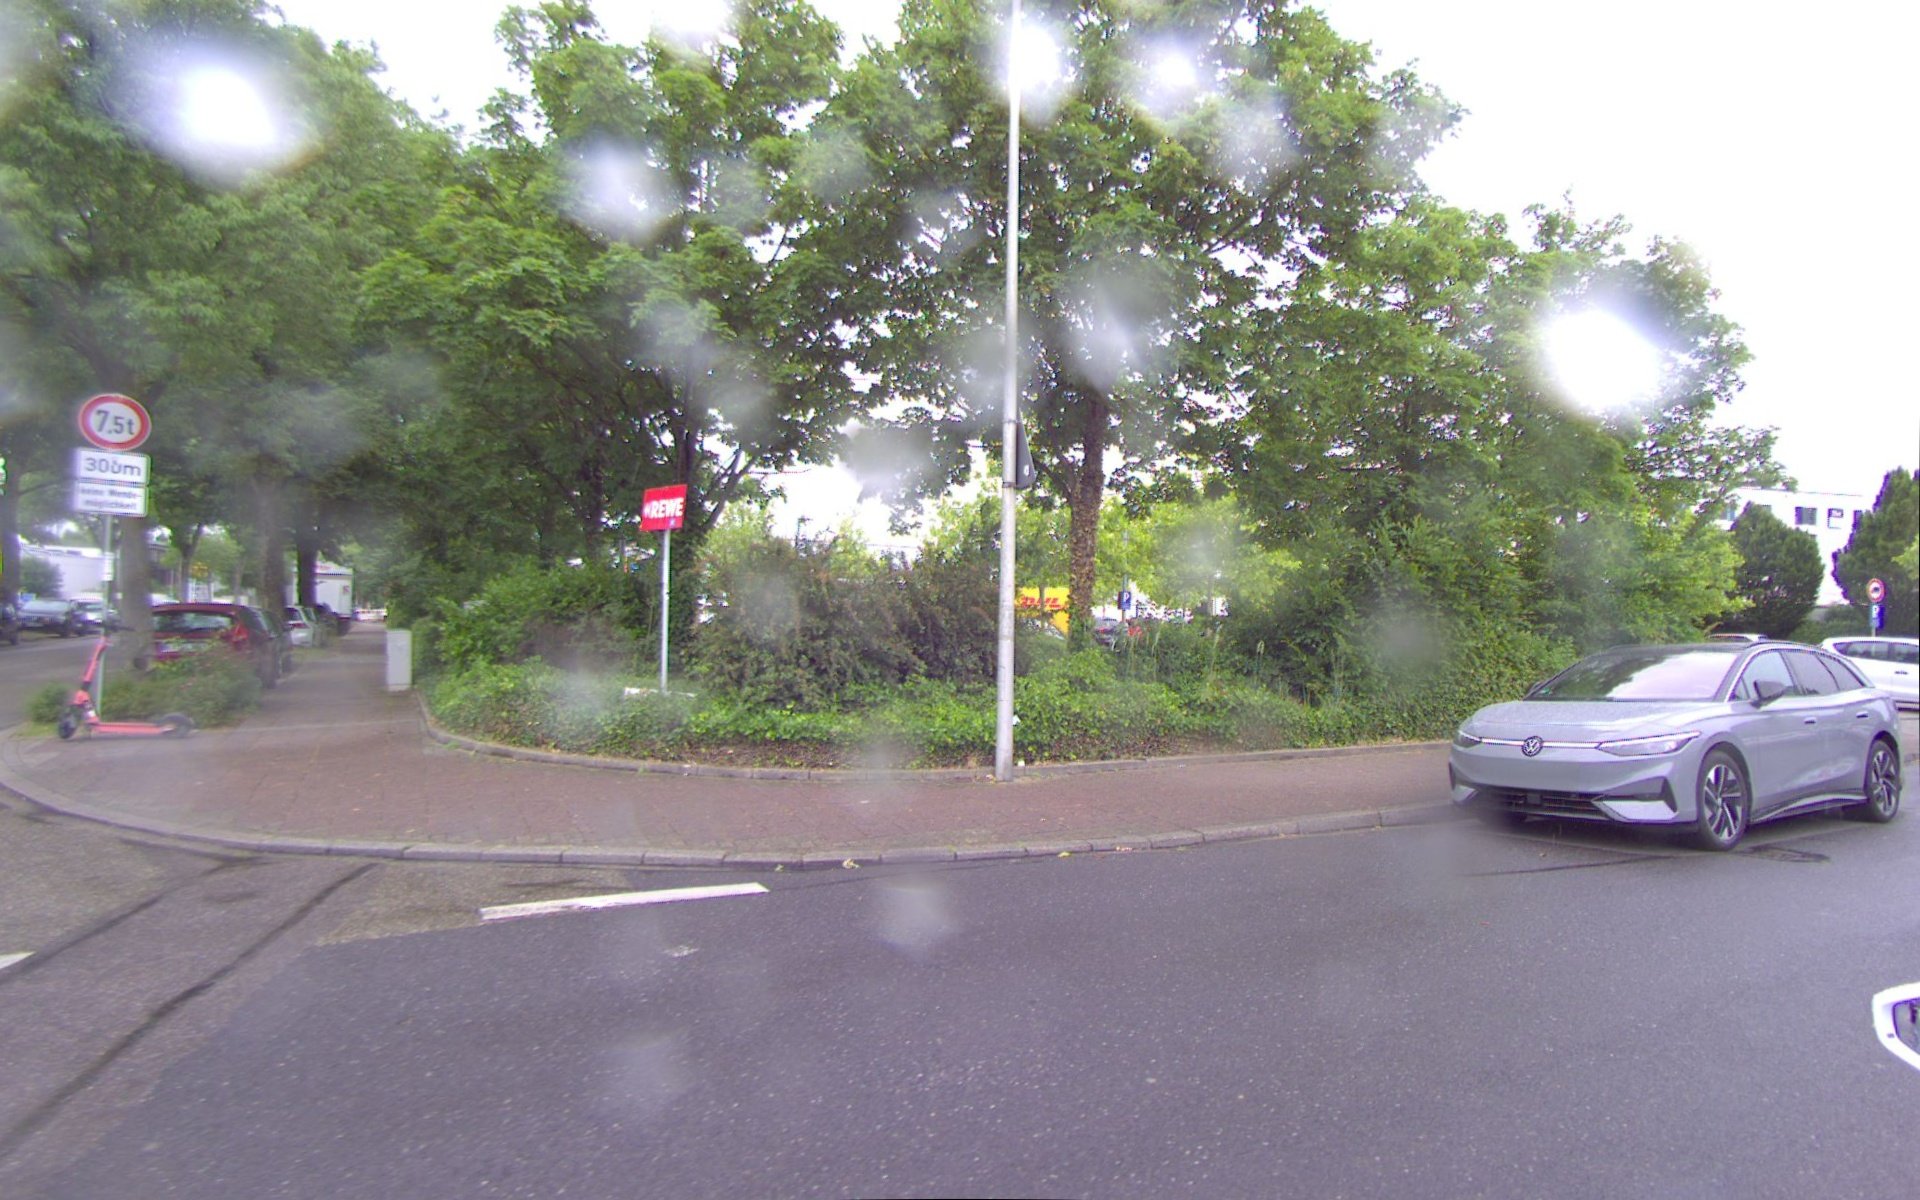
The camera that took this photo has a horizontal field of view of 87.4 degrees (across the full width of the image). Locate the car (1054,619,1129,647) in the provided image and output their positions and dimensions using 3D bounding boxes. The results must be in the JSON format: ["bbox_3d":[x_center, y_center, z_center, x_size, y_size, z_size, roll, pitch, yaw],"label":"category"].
[{"bbox_3d":[6.776,1.684,52.140,1.834,1.352,3.969,2,-1,-29],"label":"car"}]

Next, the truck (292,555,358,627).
[{"bbox_3d":[-33.662,-0.386,53.401,2.573,3.515,6.760,2,-1,-30],"label":"truck"}]

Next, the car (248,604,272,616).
[{"bbox_3d":[-75.094,1.113,107.792,1.551,1.218,3.971,2,-1,-28],"label":"car"}]

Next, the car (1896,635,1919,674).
[{"bbox_3d":[39.647,2.208,39.357,1.887,1.561,3.971,2,-1,-28],"label":"car"}]

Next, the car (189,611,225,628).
[{"bbox_3d":[-57.477,1.460,76.703,1.551,1.218,3.971,2,-1,-28],"label":"car"}]

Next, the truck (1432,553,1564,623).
[{"bbox_3d":[22.924,-0.428,42.702,6.322,2.692,1.984,2,-1,-31],"label":"truck"}]

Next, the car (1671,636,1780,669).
[{"bbox_3d":[38.746,2.633,50.933,1.974,1.519,3.972,2,-1,-27],"label":"car"}]

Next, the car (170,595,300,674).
[{"bbox_3d":[-14.897,0.698,20.822,1.716,1.460,3.969,1,-2,-30],"label":"car"}]

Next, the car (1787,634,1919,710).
[{"bbox_3d":[20.294,1.535,21.127,1.693,1.479,4.168,2,0,-31],"label":"car"}]

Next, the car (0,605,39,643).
[{"bbox_3d":[-32.399,0.771,33.450,1.551,1.218,3.971,2,-1,-28],"label":"car"}]

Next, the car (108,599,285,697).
[{"bbox_3d":[-12.174,0.734,16.263,1.716,1.381,3.969,1,-2,-30],"label":"car"}]

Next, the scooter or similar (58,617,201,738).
[{"bbox_3d":[-8.407,0.777,10.198,1.045,1.191,0.283,2,-1,-23],"label":"scooter or similar"}]

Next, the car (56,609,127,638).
[{"bbox_3d":[-39.854,1.063,46.174,1.551,1.218,3.971,2,-1,-28],"label":"car"}]

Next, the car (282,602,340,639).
[{"bbox_3d":[-26.223,0.840,40.682,1.716,1.401,4.065,1,-2,-30],"label":"car"}]

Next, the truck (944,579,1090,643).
[{"bbox_3d":[2.549,0.530,44.277,6.316,2.636,1.985,2,-1,-28],"label":"truck"}]

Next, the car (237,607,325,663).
[{"bbox_3d":[-19.018,0.967,28.276,1.716,1.460,3.969,1,-2,-30],"label":"car"}]

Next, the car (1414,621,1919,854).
[{"bbox_3d":[6.219,1.057,8.685,4.693,1.548,1.801,2,-5,-31],"label":"car"}]
